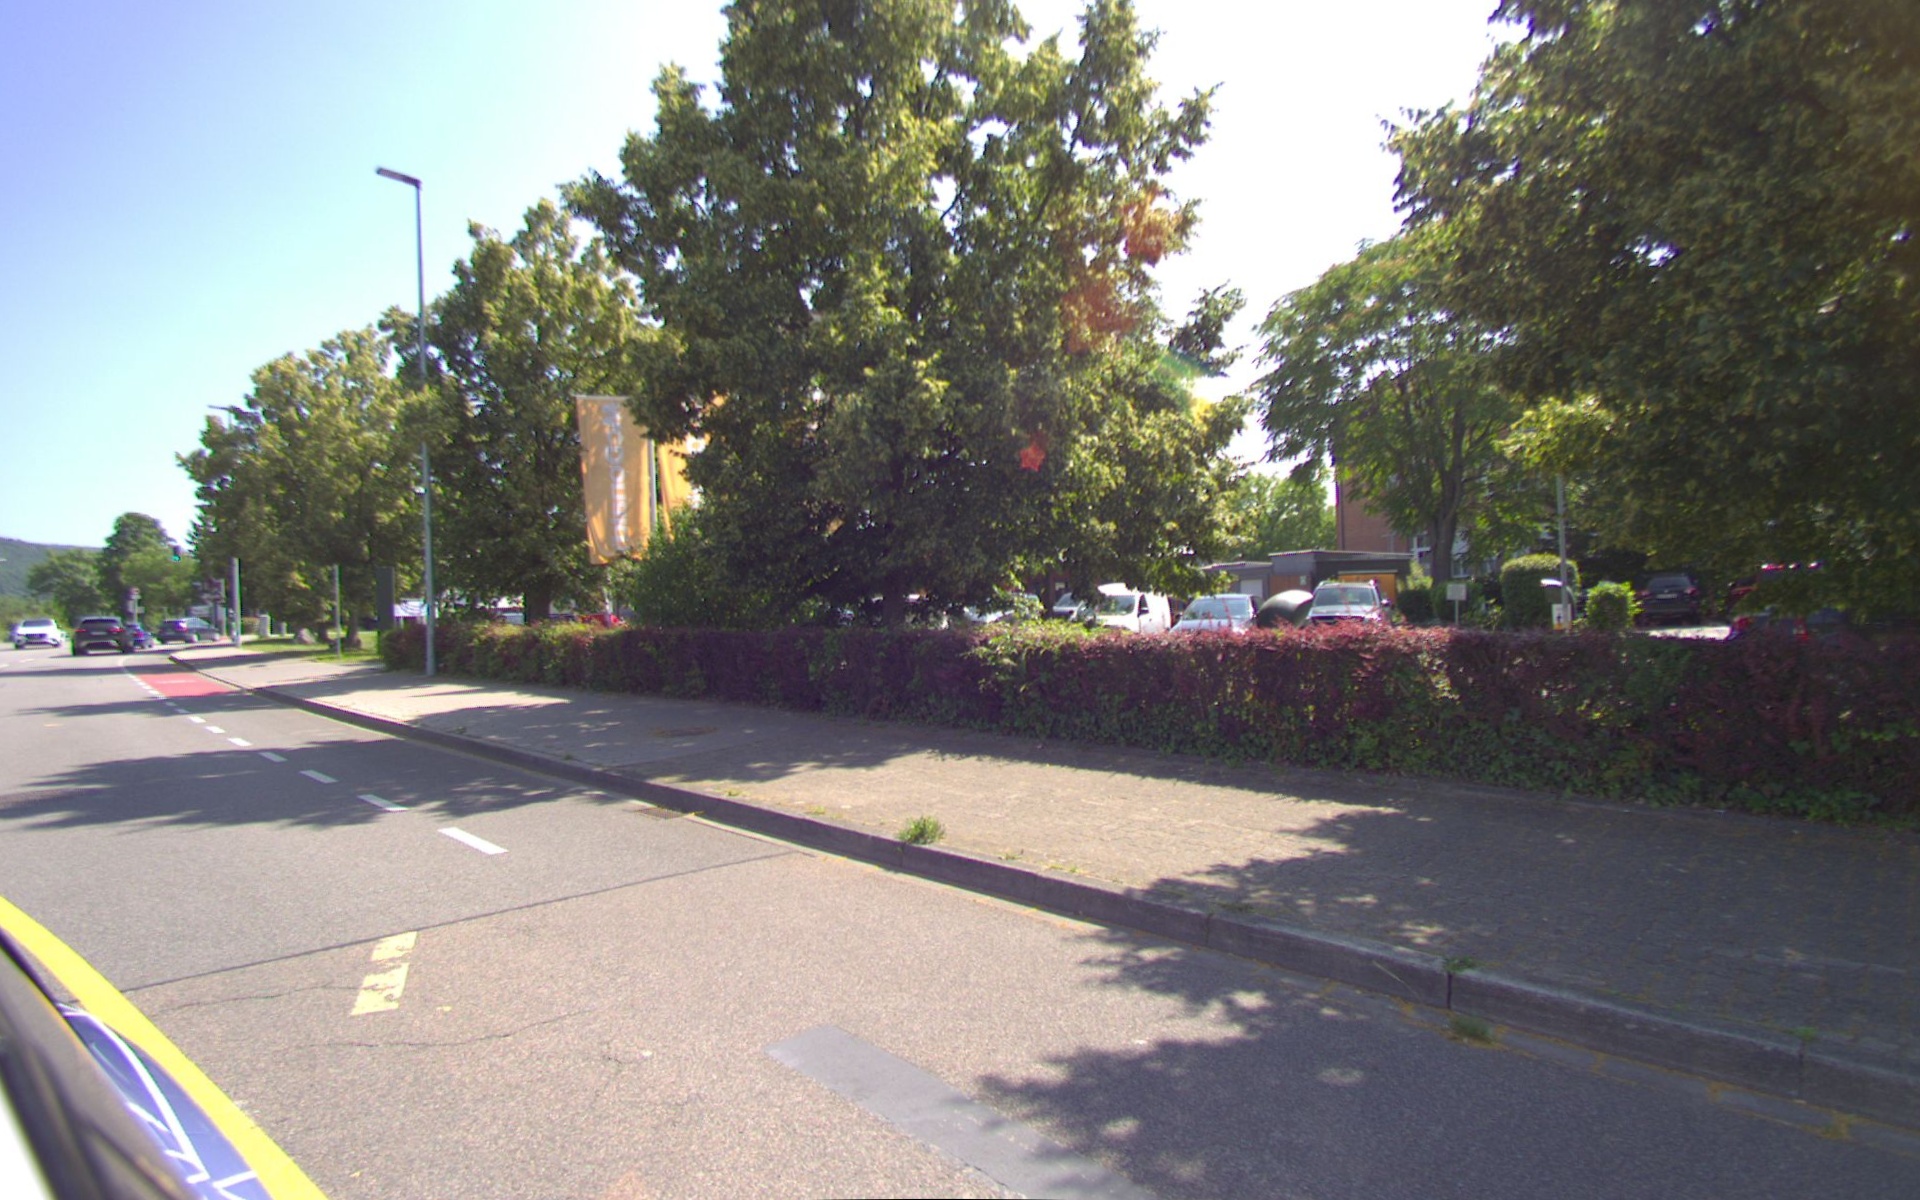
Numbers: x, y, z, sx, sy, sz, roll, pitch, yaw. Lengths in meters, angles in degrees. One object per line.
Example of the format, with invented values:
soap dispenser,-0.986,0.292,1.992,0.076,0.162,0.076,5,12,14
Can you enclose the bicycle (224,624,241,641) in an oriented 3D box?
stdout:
bicycle,-48.669,2.140,67.703,0.687,1.113,1.761,1,-2,-27

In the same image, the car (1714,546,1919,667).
car,12.849,0.062,13.142,1.762,1.522,4.659,-1,-1,-44

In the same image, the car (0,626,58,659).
car,-53.373,2.431,57.973,4.630,1.732,1.973,-2,-1,41

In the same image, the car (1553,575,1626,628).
car,20.765,0.035,33.328,1.794,1.610,3.952,-2,-1,35

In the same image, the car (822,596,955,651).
car,-2.445,0.799,34.396,4.224,1.748,1.704,-2,-1,25

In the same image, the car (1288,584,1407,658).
car,8.974,0.456,23.287,1.736,1.538,3.955,-2,-1,33

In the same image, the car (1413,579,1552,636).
car,15.194,0.214,29.466,3.376,1.538,1.506,-1,-1,-14

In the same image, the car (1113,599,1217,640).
car,7.411,0.704,36.686,3.334,1.386,1.574,-2,-1,32

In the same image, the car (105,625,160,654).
car,-42.475,2.016,52.009,1.633,1.391,4.012,-1,-1,-31

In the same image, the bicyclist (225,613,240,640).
bicyclist,-48.630,1.776,67.653,0.700,1.802,0.811,-1,-1,-27

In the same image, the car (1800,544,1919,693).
car,11.606,0.161,10.843,1.661,1.615,3.762,-1,-1,-41

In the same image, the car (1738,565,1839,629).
car,22.549,-0.077,27.678,1.794,1.610,3.952,-2,-1,35

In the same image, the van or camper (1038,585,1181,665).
van or camper,3.698,0.565,24.347,1.992,1.753,4.241,-2,-1,29

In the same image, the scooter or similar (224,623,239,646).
scooter or similar,-38.864,1.824,54.007,0.465,1.193,1.370,-1,-1,-29

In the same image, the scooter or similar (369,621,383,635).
scooter or similar,-49.567,2.393,85.863,0.493,1.132,1.507,-1,-1,-8

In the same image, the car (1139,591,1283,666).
car,5.511,0.567,21.875,1.888,1.471,3.957,-2,-1,32

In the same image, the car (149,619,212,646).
car,-46.761,1.913,60.804,1.754,1.508,4.738,-1,-1,-22

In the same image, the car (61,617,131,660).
car,-37.561,1.667,44.087,1.924,1.708,4.623,-1,-1,-36

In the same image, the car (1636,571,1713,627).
car,22.212,-0.026,31.509,1.794,1.610,3.952,-2,-1,35

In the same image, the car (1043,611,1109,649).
car,4.645,1.163,40.271,1.391,1.386,3.310,-2,-1,30
